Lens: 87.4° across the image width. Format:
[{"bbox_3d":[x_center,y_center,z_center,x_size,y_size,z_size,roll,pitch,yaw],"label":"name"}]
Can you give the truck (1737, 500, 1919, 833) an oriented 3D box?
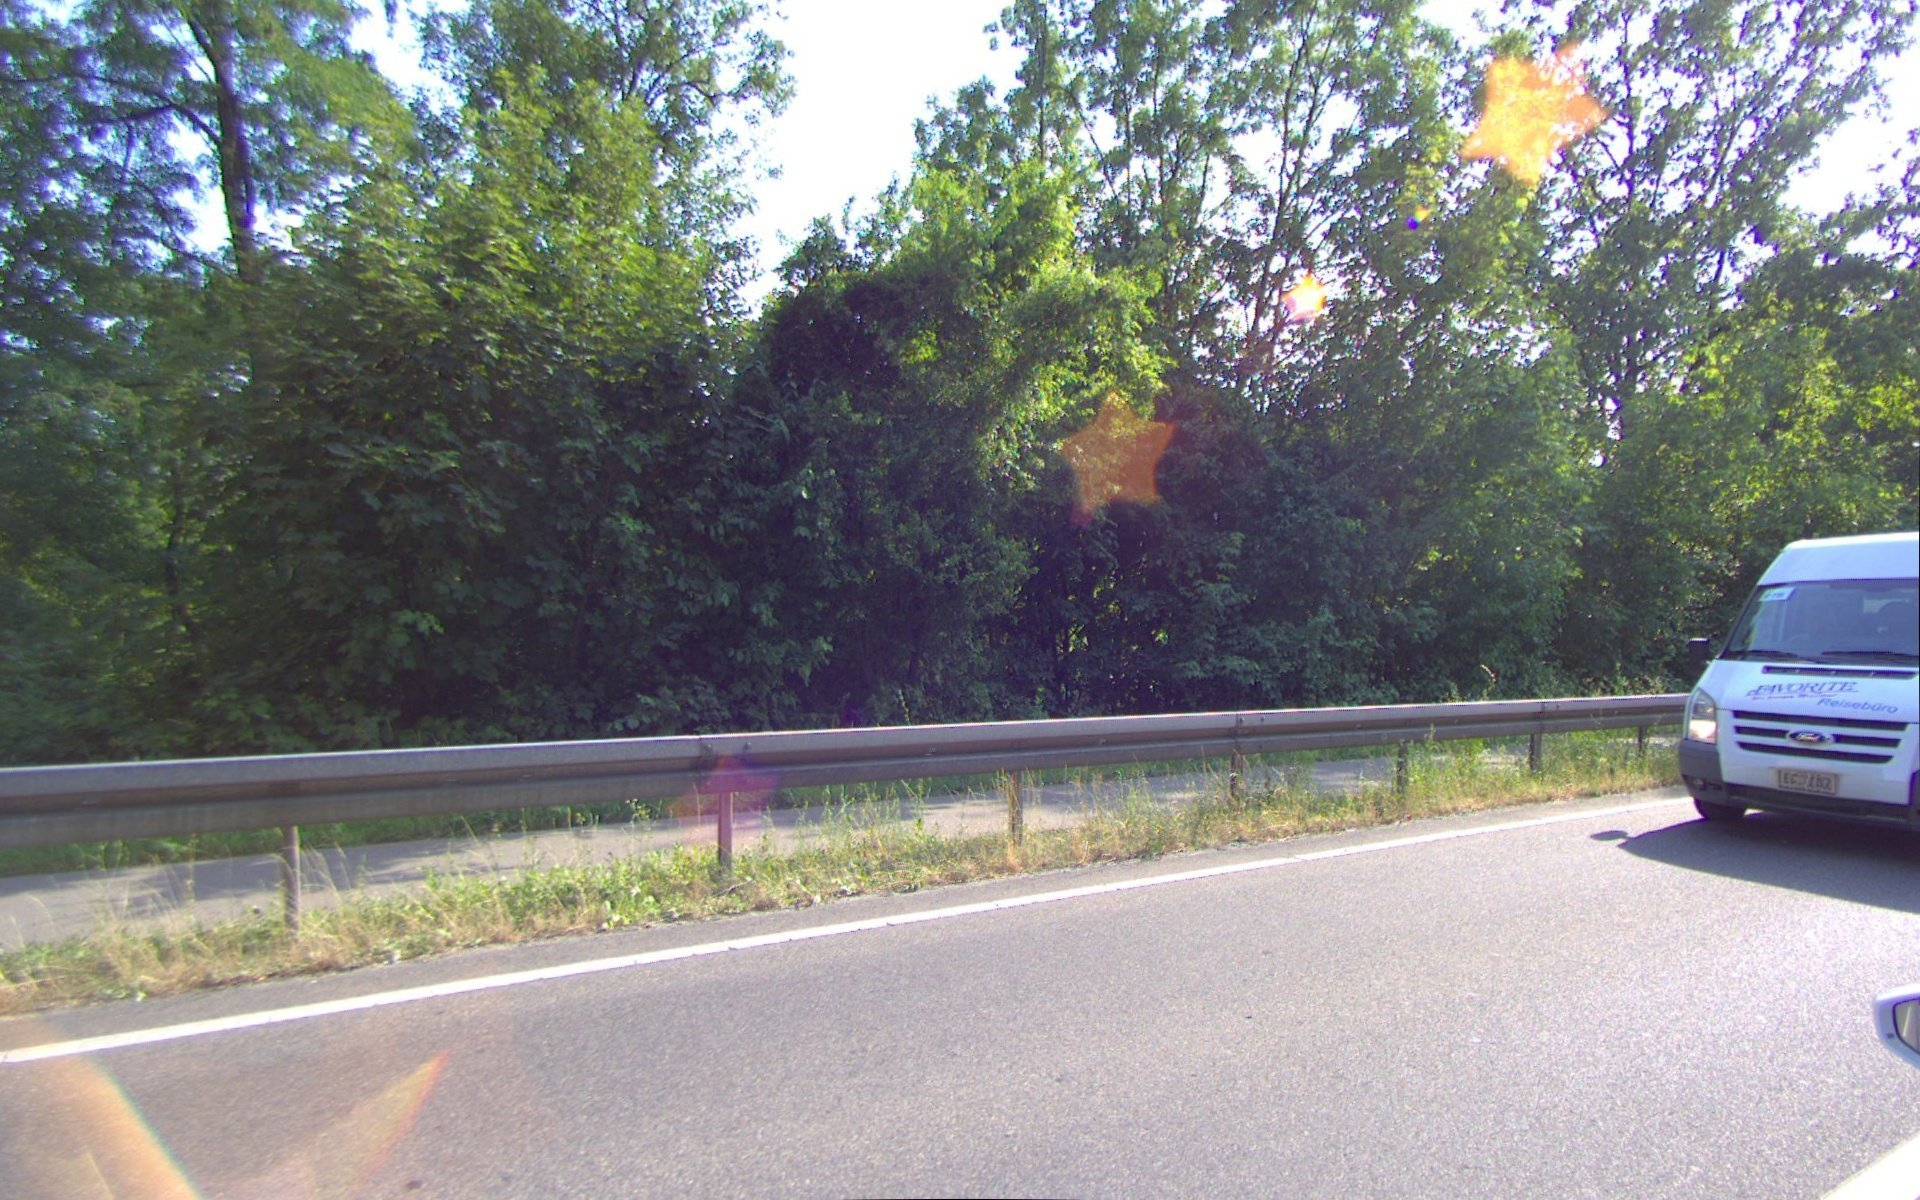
[{"bbox_3d":[9.396,0.548,8.909,5.806,2.416,2.047,2,-1,-31],"label":"truck"}]
